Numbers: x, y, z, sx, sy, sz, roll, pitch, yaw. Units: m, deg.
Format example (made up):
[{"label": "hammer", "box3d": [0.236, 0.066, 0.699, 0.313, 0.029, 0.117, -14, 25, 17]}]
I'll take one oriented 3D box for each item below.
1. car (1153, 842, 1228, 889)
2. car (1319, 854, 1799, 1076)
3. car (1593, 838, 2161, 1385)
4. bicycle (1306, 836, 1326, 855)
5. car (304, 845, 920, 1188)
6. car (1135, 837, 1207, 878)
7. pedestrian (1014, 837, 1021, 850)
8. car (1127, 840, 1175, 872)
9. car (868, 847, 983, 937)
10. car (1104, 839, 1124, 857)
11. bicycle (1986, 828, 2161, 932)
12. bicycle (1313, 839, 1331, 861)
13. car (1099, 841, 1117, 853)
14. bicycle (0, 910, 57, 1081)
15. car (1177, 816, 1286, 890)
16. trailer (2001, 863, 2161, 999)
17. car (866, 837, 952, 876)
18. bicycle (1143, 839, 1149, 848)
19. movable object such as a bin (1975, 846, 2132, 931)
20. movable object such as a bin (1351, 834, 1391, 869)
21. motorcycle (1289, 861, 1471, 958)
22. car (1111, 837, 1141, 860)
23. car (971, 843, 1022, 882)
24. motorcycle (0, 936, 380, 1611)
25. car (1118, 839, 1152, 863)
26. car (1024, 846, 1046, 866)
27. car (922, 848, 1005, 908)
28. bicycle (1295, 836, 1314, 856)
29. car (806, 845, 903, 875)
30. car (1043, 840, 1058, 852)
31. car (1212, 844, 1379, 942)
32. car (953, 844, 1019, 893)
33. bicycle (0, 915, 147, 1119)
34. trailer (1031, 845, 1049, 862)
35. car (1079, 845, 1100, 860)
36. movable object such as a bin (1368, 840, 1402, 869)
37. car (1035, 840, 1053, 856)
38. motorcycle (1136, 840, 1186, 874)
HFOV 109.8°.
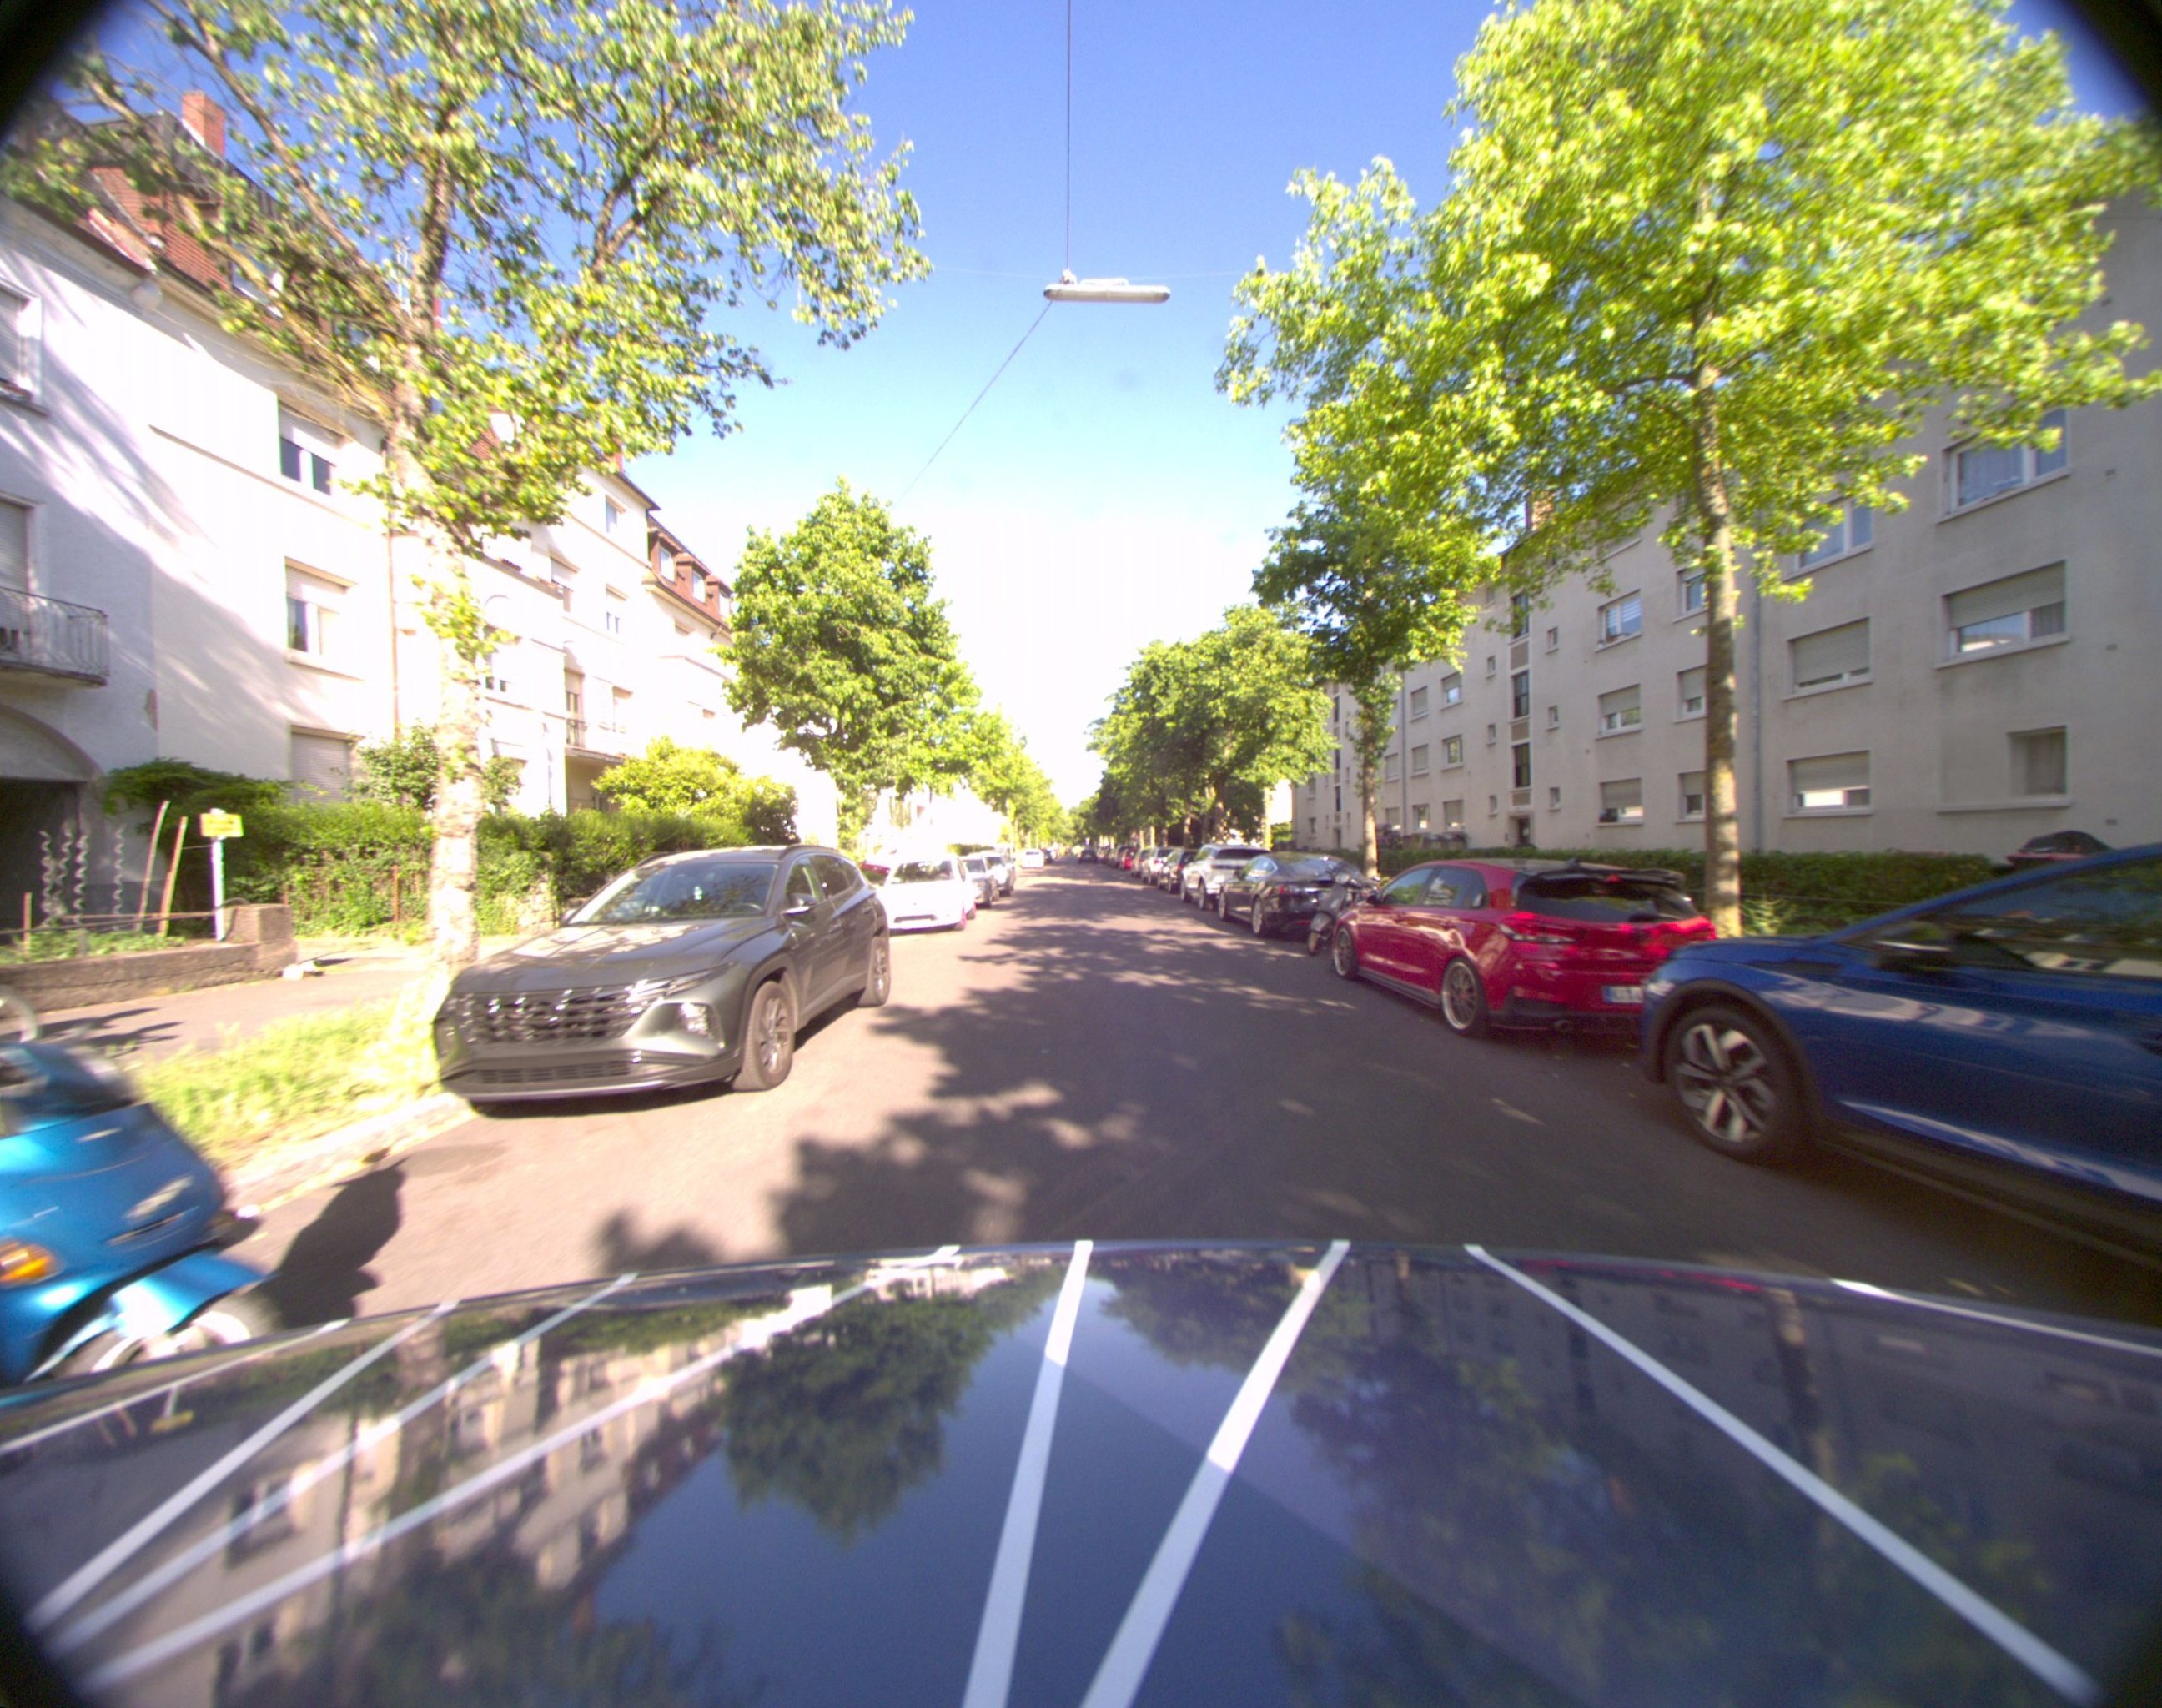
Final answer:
[{"label": "car", "box3d": [3.652, 0.324, 26.226, 1.733, 1.438, 4.819, 1, 1, -2]}, {"label": "car", "box3d": [3.839, 0.741, 7.172, 1.784, 1.371, 4.261, 1, 1, -1]}, {"label": "car", "box3d": [3.996, 0.756, 2.158, 1.794, 1.558, 4.462, 1, 1, -4]}, {"label": "bicycle", "box3d": [15.016, -0.541, 48.604, 0.687, 1.194, 1.911, -1, 1, 1]}, {"label": "car", "box3d": [-2.950, 0.814, 6.462, 1.930, 1.642, 5.094, -3, 1, 1]}, {"label": "car", "box3d": [3.621, 0.102, 31.405, 2.070, 1.515, 4.719, -1, 1, -4]}, {"label": "pedestrian", "box3d": [-9.936, -1.633, 119.038, 0.907, 2.002, 1.005, -1, 2, -1]}, {"label": "car", "box3d": [3.546, 0.063, 39.123, 2.048, 1.515, 4.605, -1, 1, 0]}, {"label": "car", "box3d": [-3.125, 0.675, 16.039, 1.658, 1.524, 3.967, -4, 1, -2]}, {"label": "car", "box3d": [3.101, -0.600, 72.823, 1.710, 1.568, 4.480, -1, 1, 0]}, {"label": "bicycle", "box3d": [13.266, 0.286, 9.681, 1.096, 1.224, 1.978, -1, 1, 1]}, {"label": "bicycle", "box3d": [14.184, -0.265, 44.786, 0.399, 1.282, 1.913, -1, 1, -2]}, {"label": "car", "box3d": [2.976, -0.794, 84.632, 1.658, 1.365, 4.187, -1, 1, -2]}, {"label": "bicycle", "box3d": [-7.733, 1.014, 4.298, 0.685, 1.147, 2.401, -1, 1, -4]}, {"label": "car", "box3d": [3.663, -0.075, 19.249, 1.733, 1.609, 4.364, -1, 1, -2]}, {"label": "trailer", "box3d": [9.584, 0.649, 5.543, 1.793, 1.028, 3.280, -1, 1, 1]}, {"label": "car", "box3d": [-11.173, 0.121, 49.319, 5.062, 2.293, 2.230, -2, 1, -24]}, {"label": "bicycle", "box3d": [9.065, -1.485, 105.970, 0.596, 1.183, 2.260, -1, 1, -2]}, {"label": "movable object such as a bin", "box3d": [12.322, 0.417, 9.660, 0.885, 1.028, 0.844, -1, 2, 1]}, {"label": "movable object such as a bin", "box3d": [11.380, -0.124, 29.818, 0.932, 1.316, 1.378, -1, 2, -6]}, {"label": "motorcycle", "box3d": [4.193, 0.745, 10.711, 2.293, 1.263, 0.807, 0, 1, -11]}, {"label": "car", "box3d": [3.311, -0.434, 56.950, 1.772, 1.678, 4.812, -1, 1, -2]}, {"label": "car", "box3d": [-3.770, 0.325, 34.524, 1.901, 1.516, 4.964, -2, 2, -2]}, {"label": "motorcycle", "box3d": [-3.385, 0.995, 1.982, 2.358, 1.415, 0.687, -1, 2, -2]}, {"label": "car", "box3d": [3.568, -0.220, 50.699, 1.861, 1.461, 4.181, -1, 1, -1]}, {"label": "car", "box3d": [-3.757, 0.155, 62.453, 1.737, 1.478, 4.007, -2, 1, -3]}, {"label": "car", "box3d": [-3.232, 0.592, 21.762, 1.715, 1.402, 4.859, -3, 1, -2]}, {"label": "bicycle", "box3d": [14.307, -0.515, 48.613, 0.687, 1.194, 1.911, -1, 1, 1]}, {"label": "car", "box3d": [-12.341, 0.333, 41.490, 4.725, 1.461, 1.954, -1, 2, 13]}, {"label": "car", "box3d": [-4.111, -1.040, 102.312, 1.786, 1.509, 4.684, -2, 1, -5]}, {"label": "car", "box3d": [3.797, 0.586, 14.328, 1.733, 1.469, 4.617, 2, 1, -1]}, {"label": "car", "box3d": [-3.239, 0.438, 26.748, 1.826, 1.461, 4.907, -3, 1, -2]}, {"label": "bicycle", "box3d": [-6.801, 1.031, 4.075, 0.685, 1.147, 2.401, -1, 1, -4]}, {"label": "trailer", "box3d": [-4.158, -0.052, 77.367, 1.578, 1.570, 3.191, -4, 1, 1]}, {"label": "car", "box3d": [0.825, -0.165, 73.739, 1.814, 1.437, 4.364, 0, 1, -2]}, {"label": "movable object such as a bin", "box3d": [11.511, 0.011, 28.774, 0.932, 1.086, 0.754, -1, 2, -6]}, {"label": "car", "box3d": [-3.961, -0.657, 82.071, 1.797, 1.634, 4.817, -4, 1, -1]}, {"label": "motorcycle", "box3d": [3.711, 0.122, 35.385, 0.991, 1.495, 2.227, -2, 2, -41]}]
